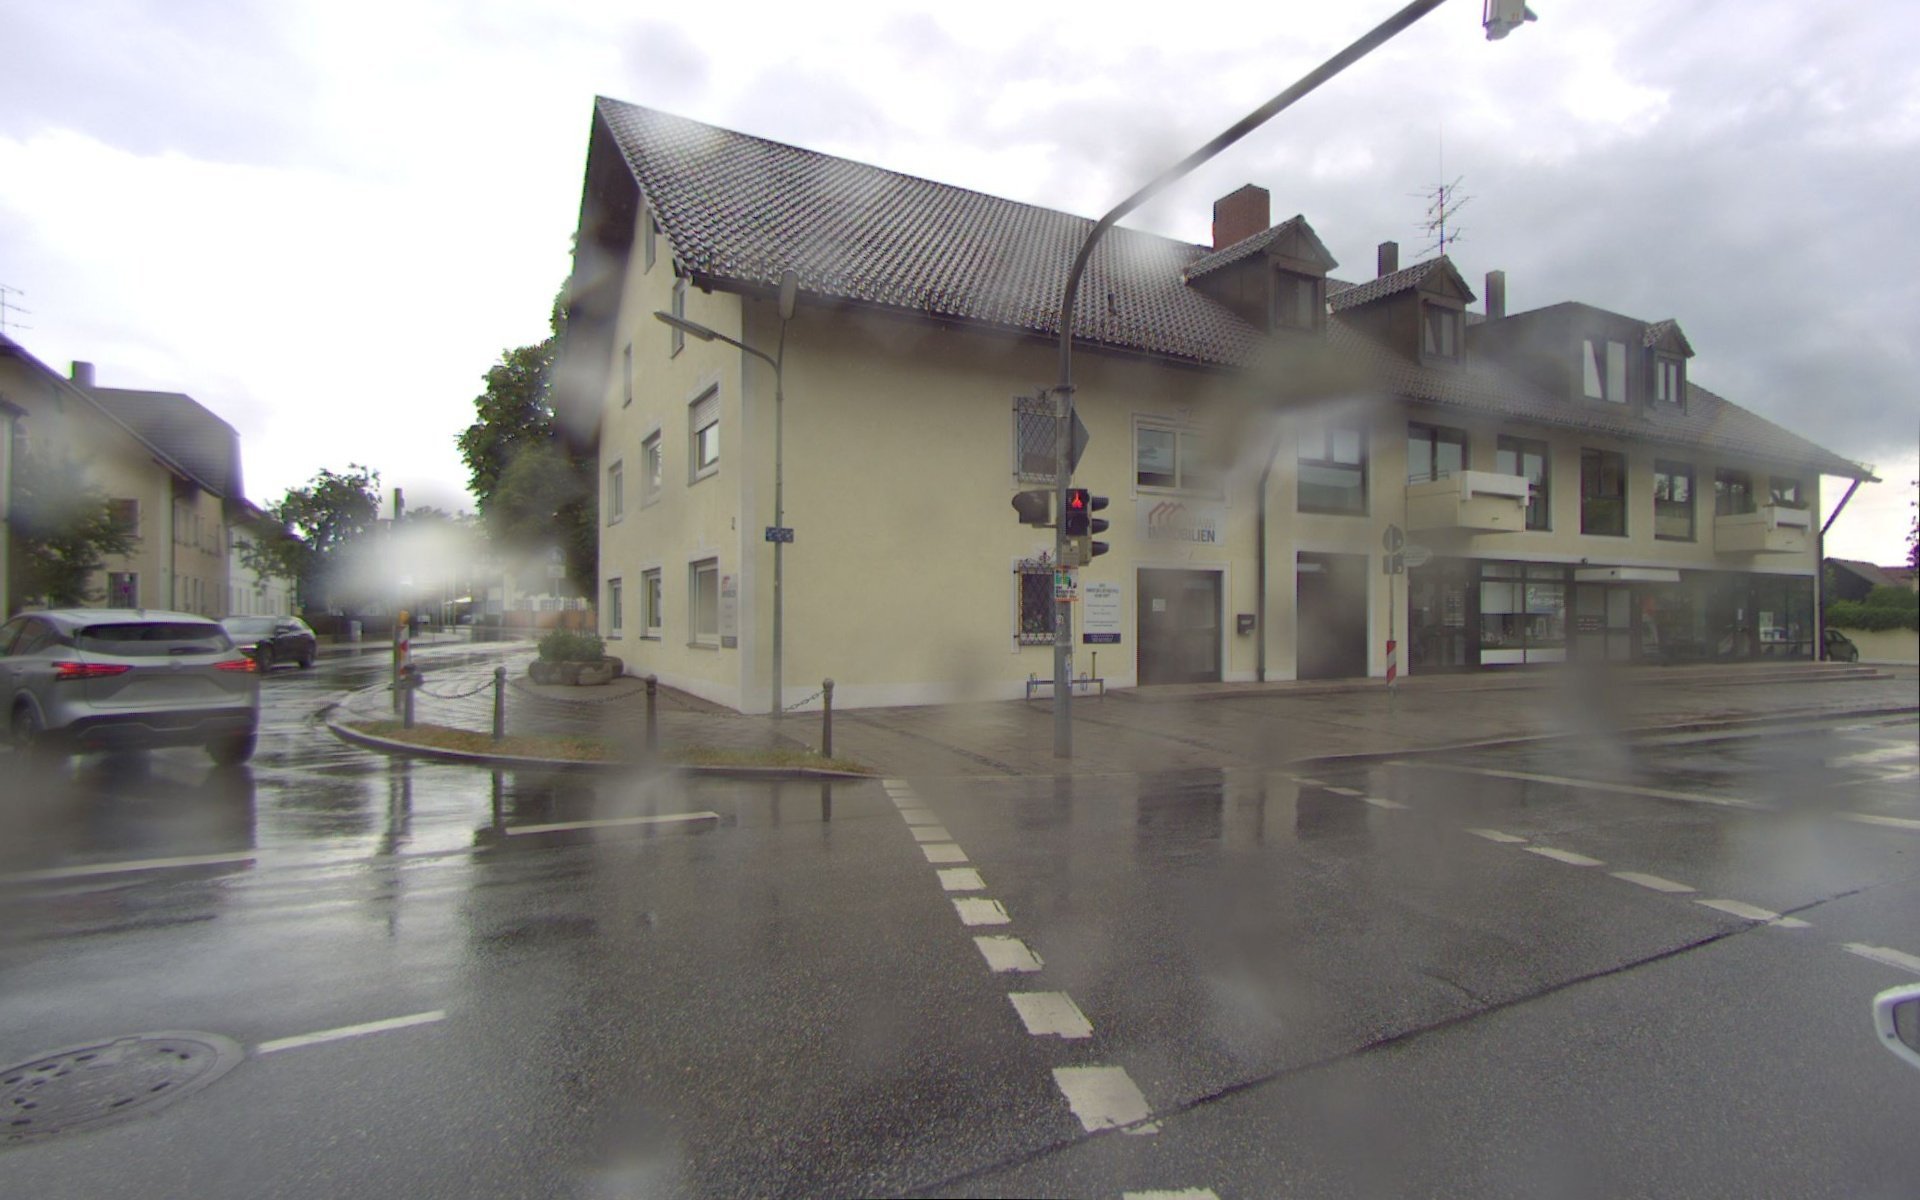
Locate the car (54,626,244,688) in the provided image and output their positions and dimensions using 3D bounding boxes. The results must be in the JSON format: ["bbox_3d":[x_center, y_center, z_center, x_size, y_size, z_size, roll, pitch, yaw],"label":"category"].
[{"bbox_3d":[-17.744,1.191,22.245,1.662,1.201,4.346,1,-1,-16],"label":"car"}]

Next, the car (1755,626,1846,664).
[{"bbox_3d":[32.503,1.737,38.827,3.467,1.398,1.600,1,-2,-30],"label":"car"}]

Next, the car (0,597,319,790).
[{"bbox_3d":[-9.203,0.898,10.843,4.309,1.695,2.085,-1,-3,30],"label":"car"}]

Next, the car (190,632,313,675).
[{"bbox_3d":[-18.864,1.392,26.933,1.400,1.030,4.061,1,-1,-16],"label":"car"}]
